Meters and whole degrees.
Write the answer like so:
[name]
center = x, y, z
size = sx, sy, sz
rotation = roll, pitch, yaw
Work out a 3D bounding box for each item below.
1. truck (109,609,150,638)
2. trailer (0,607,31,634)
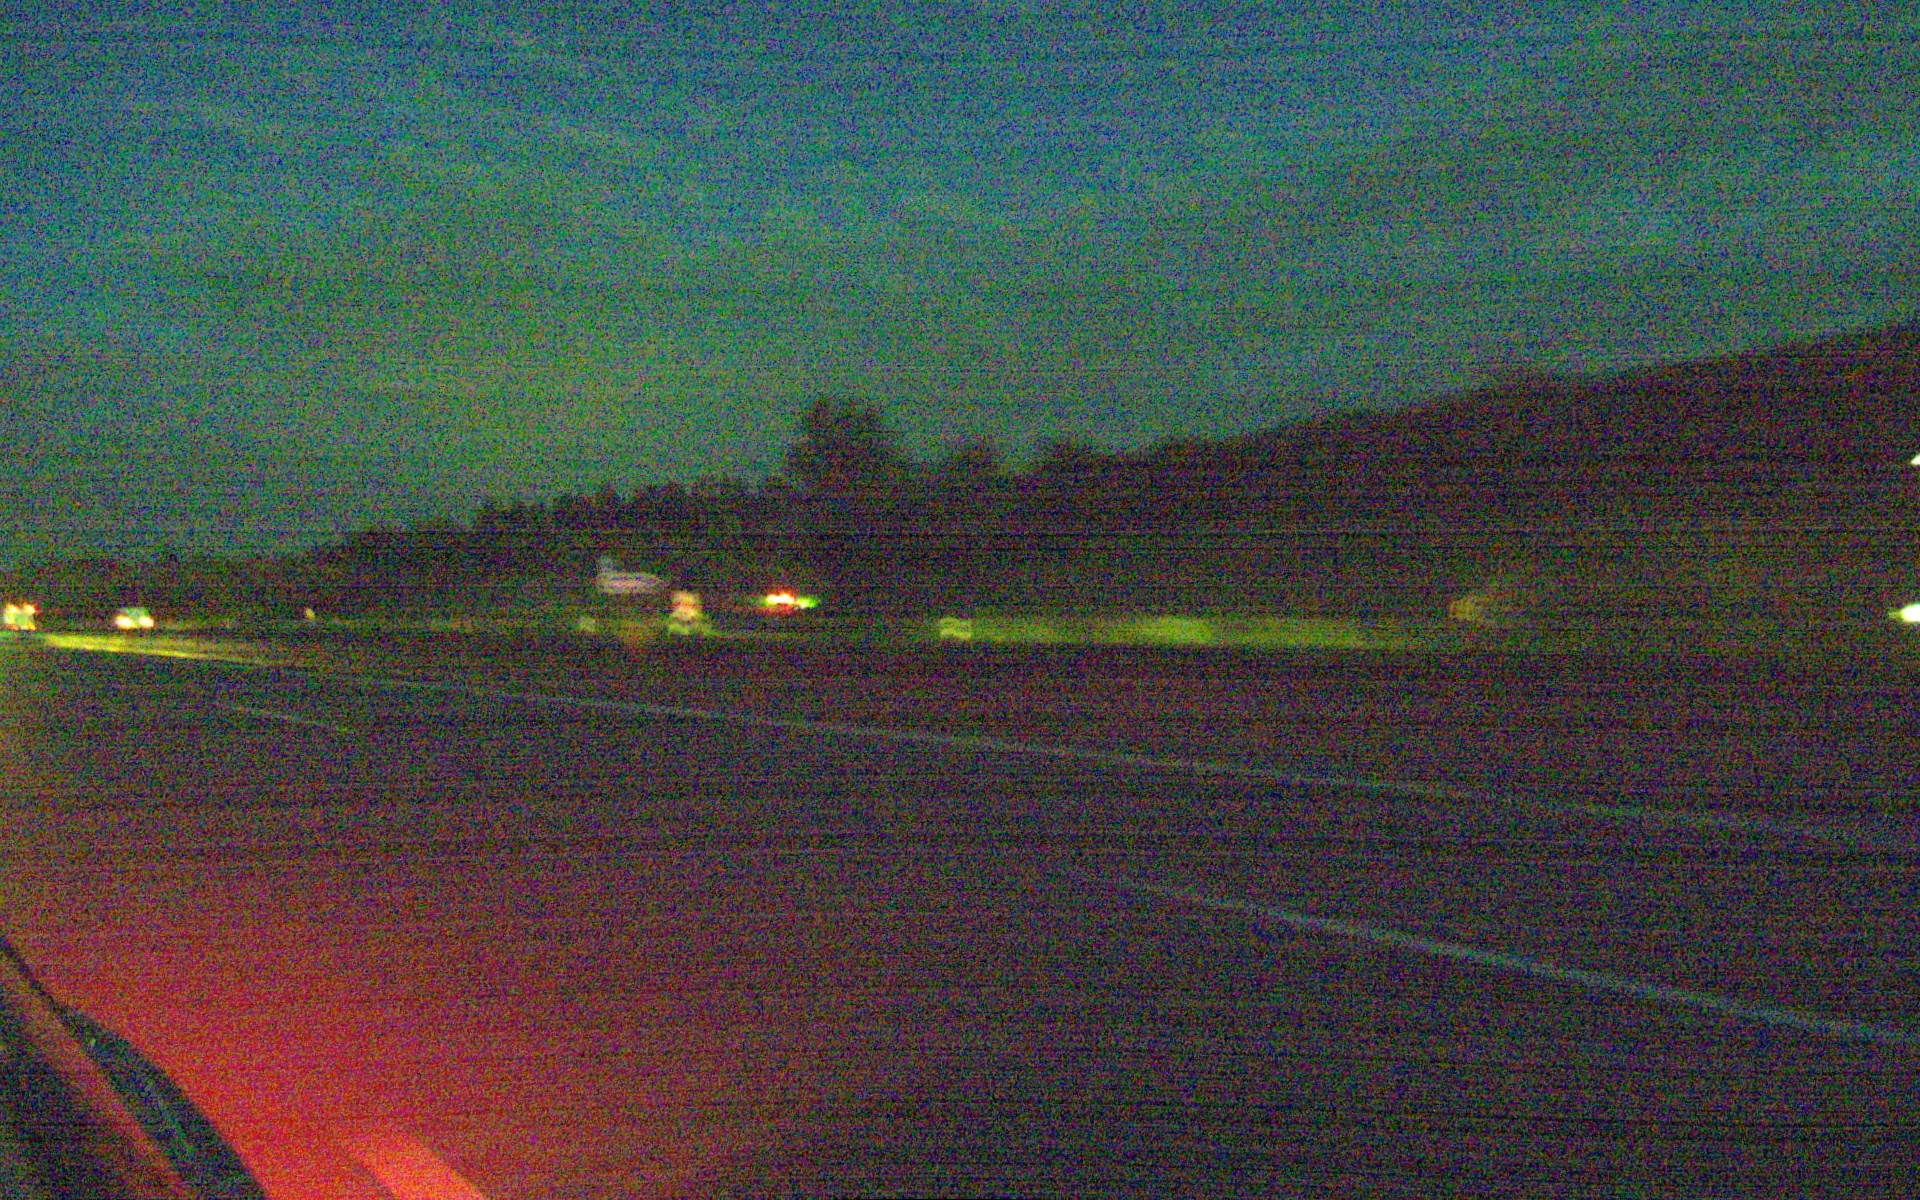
[truck]
center = -89.029, 2.541, 108.425
size = 7.622, 2.746, 2.174
rotation = -2, 2, 42
[trailer]
center = -169.053, 3.673, 180.786
size = 14.020, 4.467, 3.290
rotation = -2, -1, 42
